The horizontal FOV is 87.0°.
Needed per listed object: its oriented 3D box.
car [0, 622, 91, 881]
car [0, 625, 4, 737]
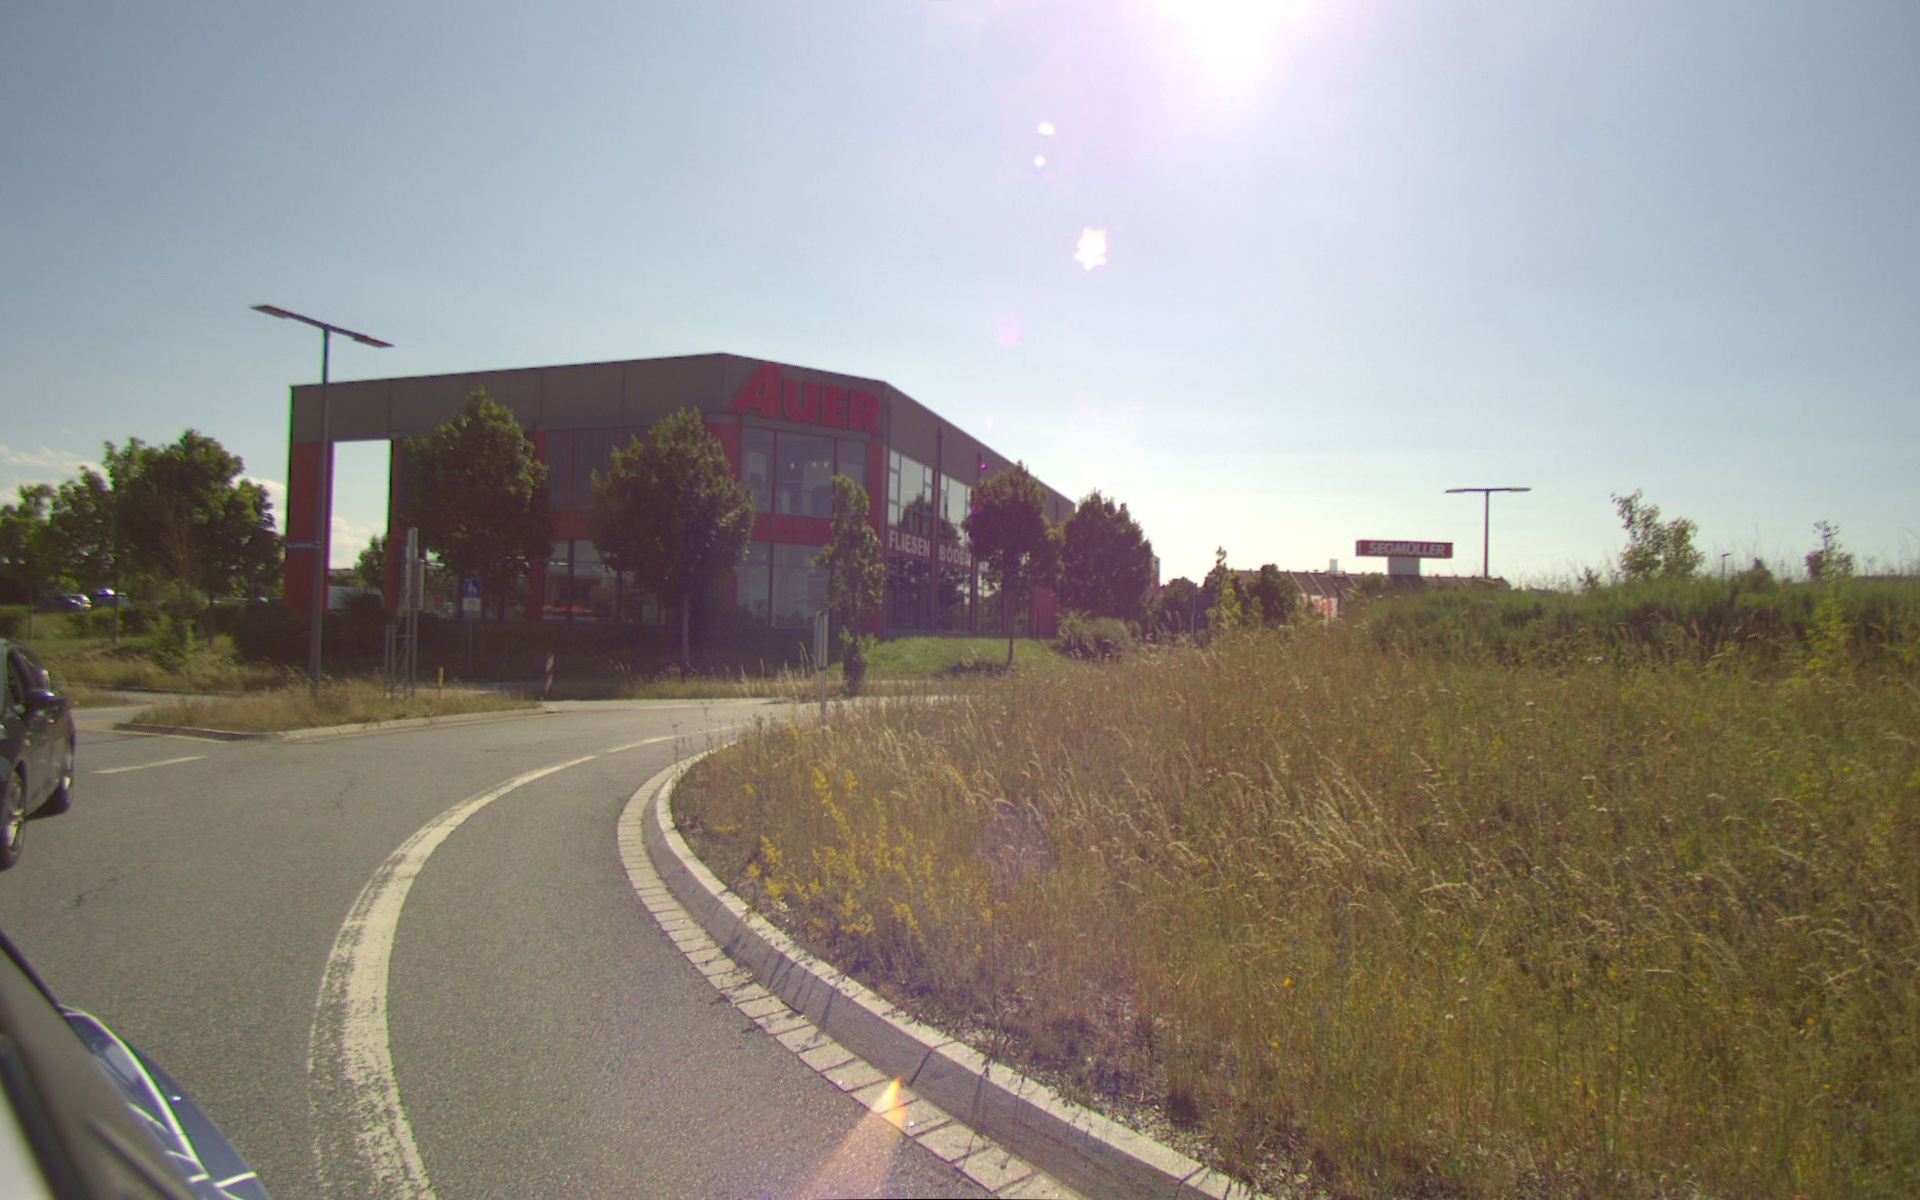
[{"bbox_3d":[-7.154,0.897,6.597,1.832,1.479,4.010,2,-3,-35],"label":"car"},{"bbox_3d":[-16.738,1.194,15.251,3.971,1.701,1.851,1,1,21],"label":"car"}]
